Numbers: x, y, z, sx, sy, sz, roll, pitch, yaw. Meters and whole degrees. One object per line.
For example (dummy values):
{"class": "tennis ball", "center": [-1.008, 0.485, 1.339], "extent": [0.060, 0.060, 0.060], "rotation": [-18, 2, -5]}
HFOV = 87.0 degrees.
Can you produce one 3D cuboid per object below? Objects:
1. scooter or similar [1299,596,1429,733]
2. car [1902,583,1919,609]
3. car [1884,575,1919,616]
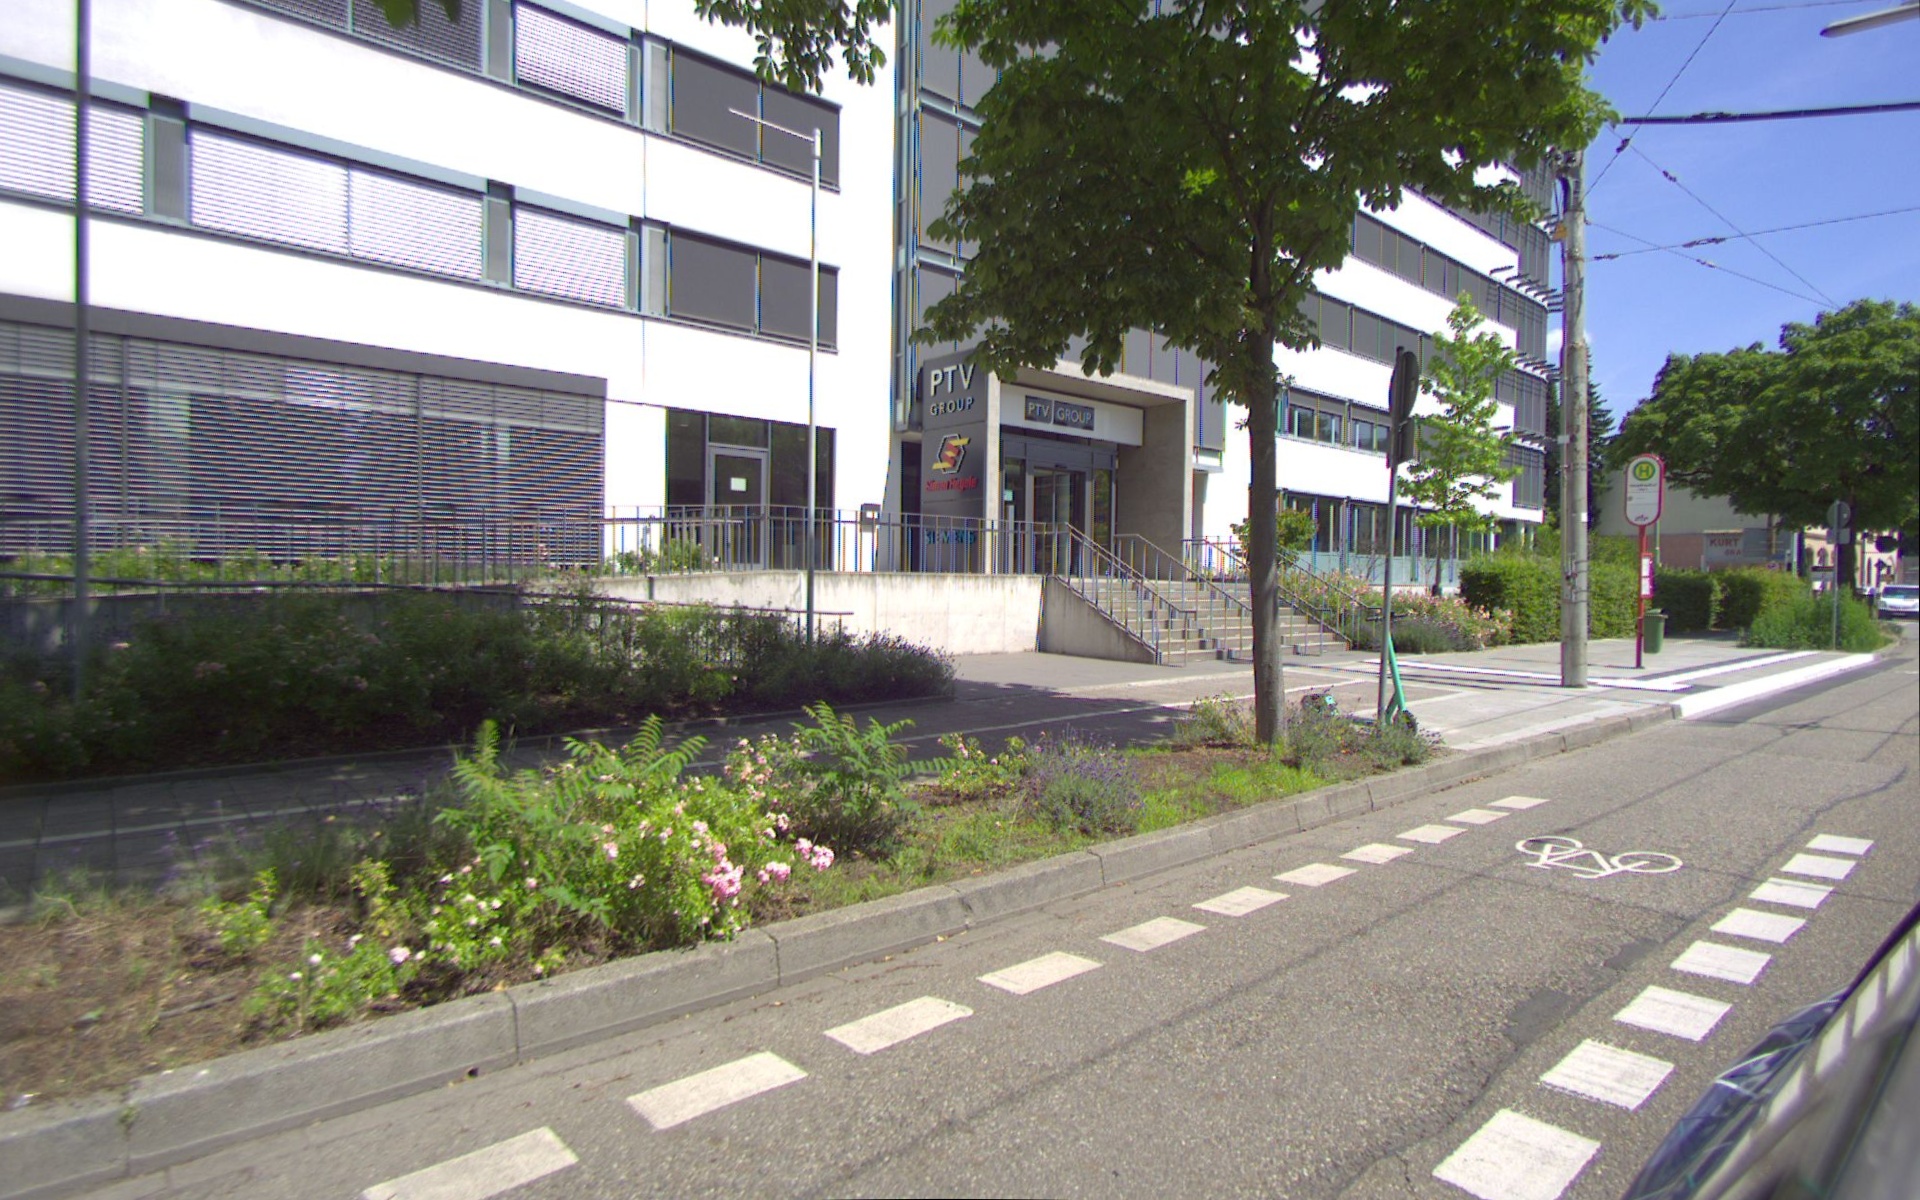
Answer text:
{"class": "scooter or similar", "center": [3.780, 0.571, 9.509], "extent": [0.364, 1.170, 1.061], "rotation": [0, 3, -40]}
{"class": "car", "center": [55.835, -0.248, 58.192], "extent": [3.945, 1.460, 1.998], "rotation": [0, 1, -40]}
{"class": "car", "center": [51.313, -0.240, 54.199], "extent": [5.418, 2.016, 1.998], "rotation": [0, 3, -41]}
